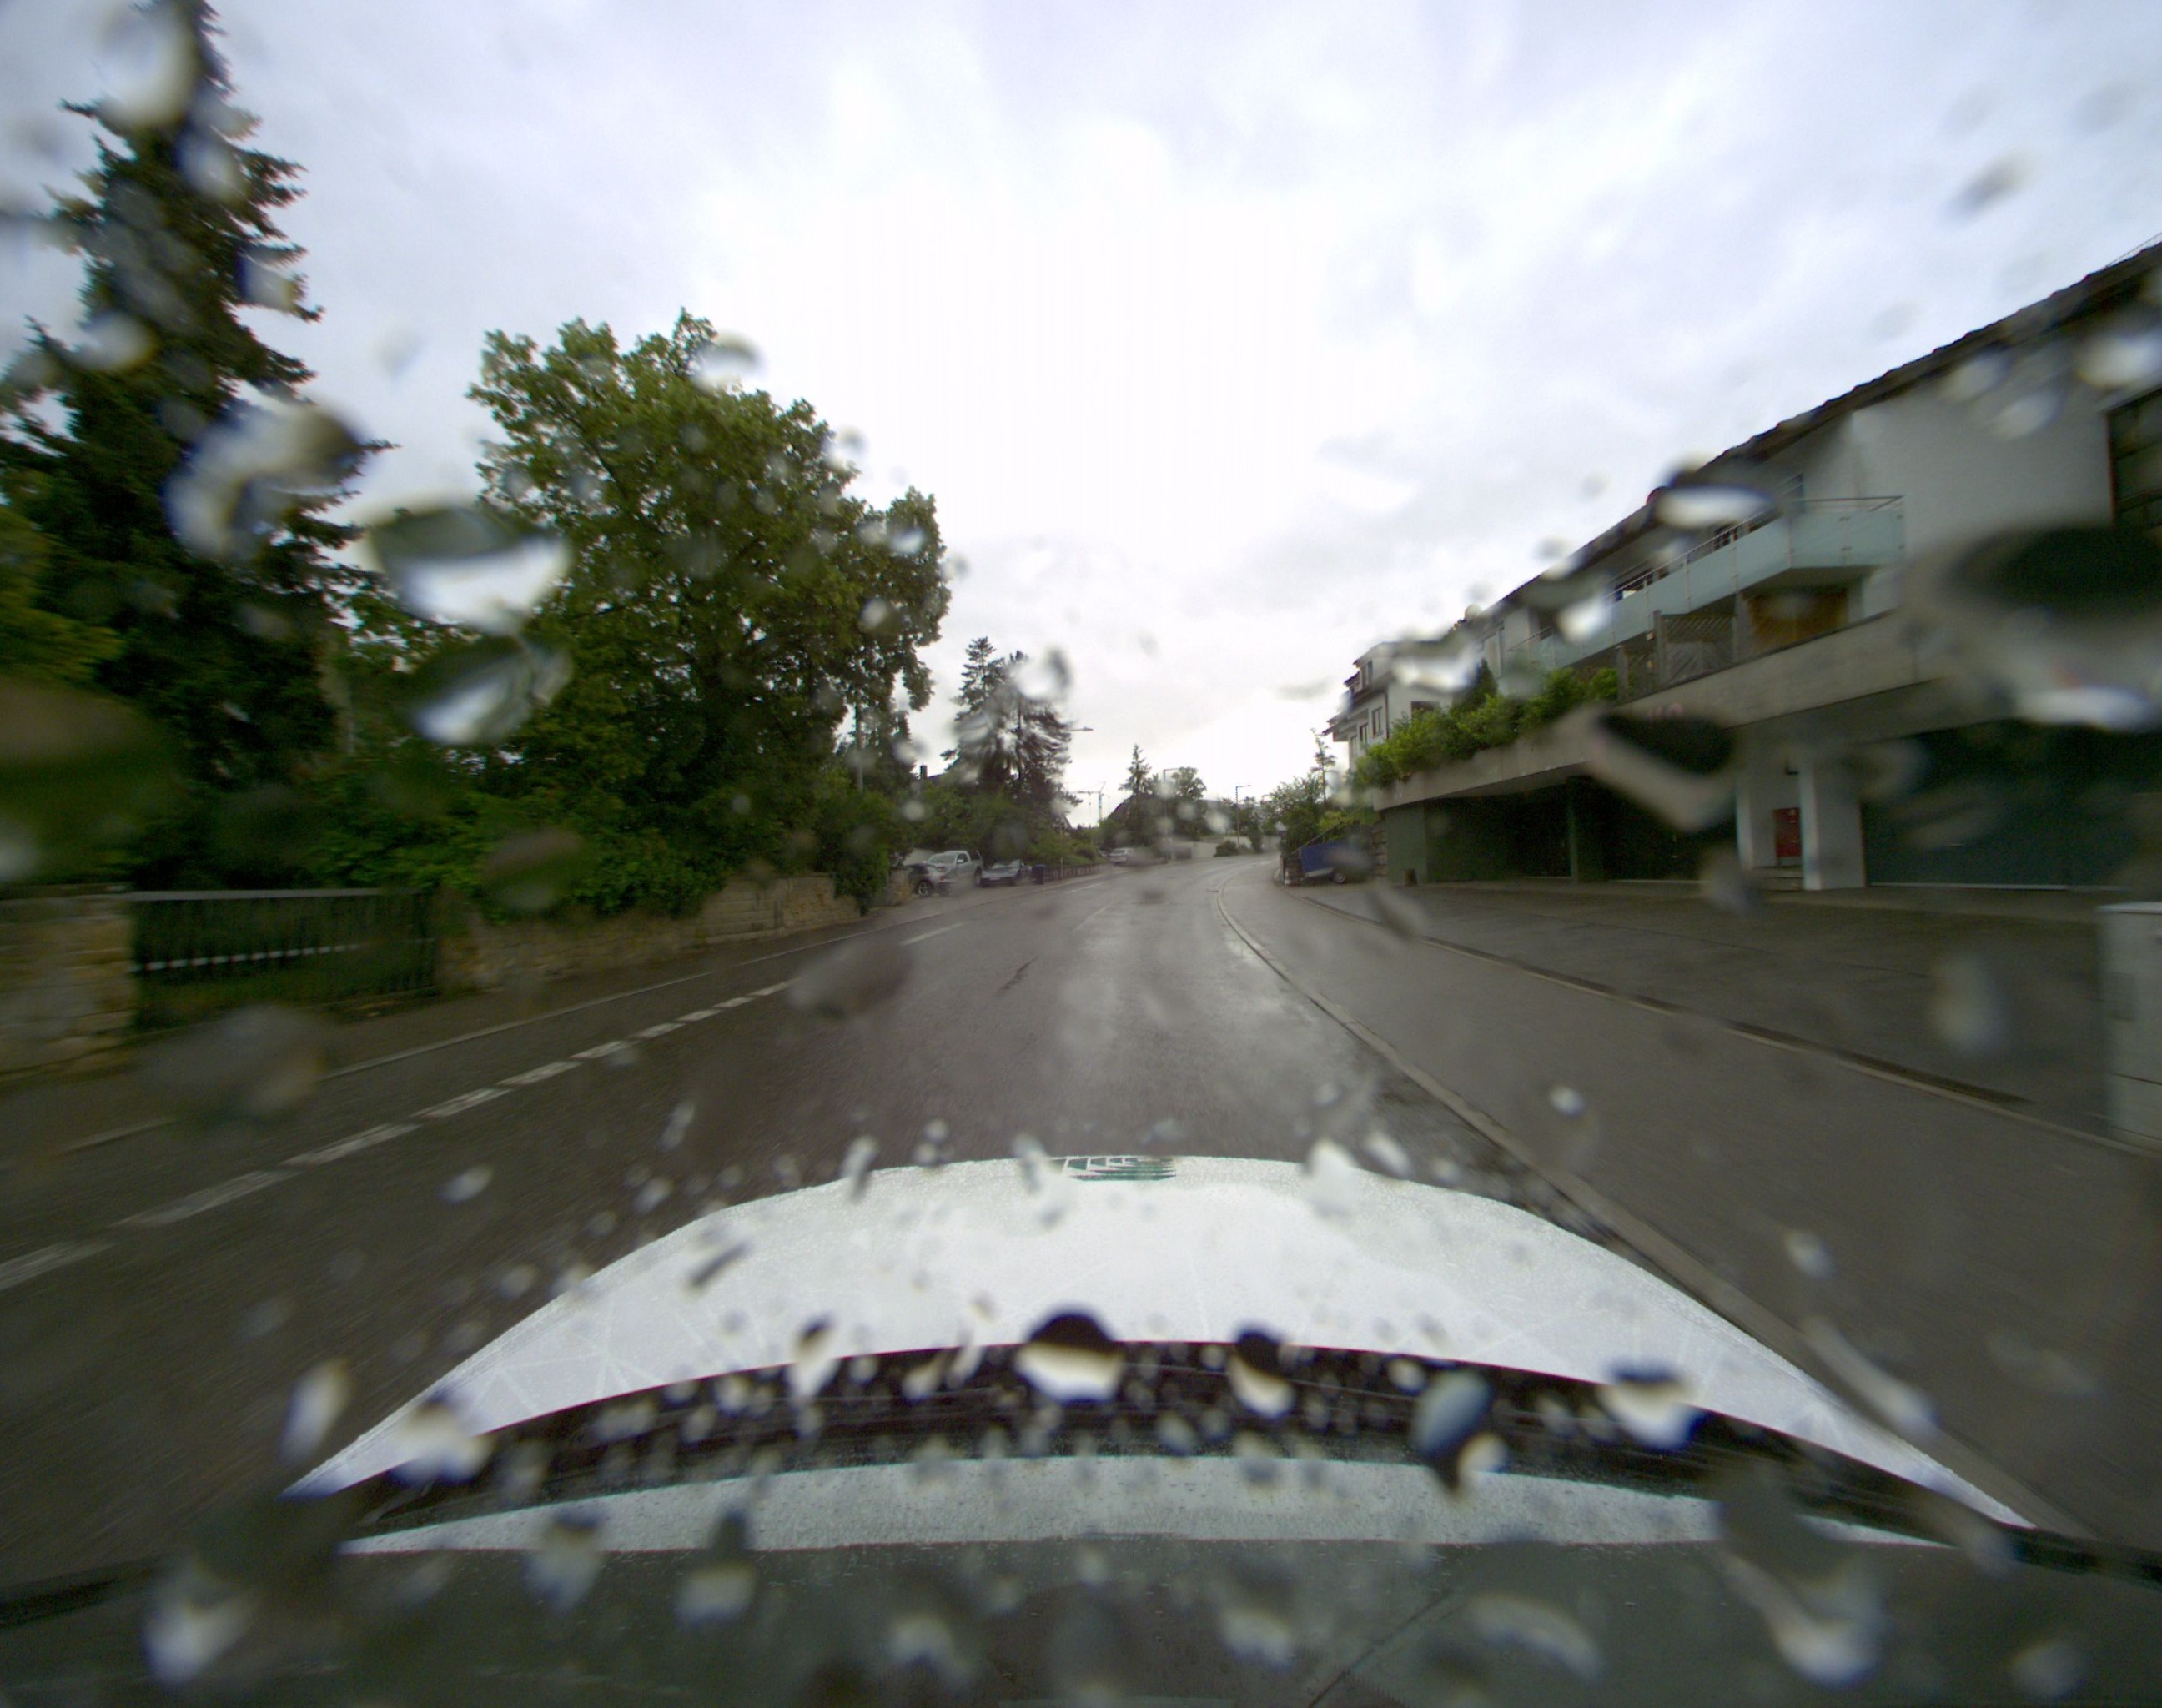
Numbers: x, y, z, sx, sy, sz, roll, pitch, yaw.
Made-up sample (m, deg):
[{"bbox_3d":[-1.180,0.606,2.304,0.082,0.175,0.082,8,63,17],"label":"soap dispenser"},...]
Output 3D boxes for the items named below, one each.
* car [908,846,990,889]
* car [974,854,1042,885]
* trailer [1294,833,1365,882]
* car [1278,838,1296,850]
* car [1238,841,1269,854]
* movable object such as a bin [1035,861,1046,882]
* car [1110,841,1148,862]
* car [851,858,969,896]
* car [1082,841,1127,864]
[{"bbox_3d":[-6.410,0.612,40.378,1.980,1.843,5.498,-2,0,13],"label":"car"},{"bbox_3d":[-3.527,0.720,40.243,1.980,1.307,4.449,-3,0,13],"label":"car"},{"bbox_3d":[9.610,0.131,31.630,2.340,1.748,2.005,-2,0,9],"label":"trailer"},{"bbox_3d":[29.344,-1.438,116.084,1.817,1.405,4.284,-2,1,23],"label":"car"},{"bbox_3d":[22.036,-0.844,103.943,4.415,1.553,1.689,-3,1,-44],"label":"car"},{"bbox_3d":[-1.962,0.845,39.524,0.368,0.988,0.560,-3,0,10],"label":"movable object such as a bin"},{"bbox_3d":[4.044,-0.205,68.274,1.719,1.551,4.024,-3,0,25],"label":"car"},{"bbox_3d":[-6.586,0.874,31.512,3.956,1.271,1.882,-2,0,16],"label":"car"},{"bbox_3d":[2.159,-0.123,74.772,2.009,1.837,3.955,-3,0,-37],"label":"car"}]
